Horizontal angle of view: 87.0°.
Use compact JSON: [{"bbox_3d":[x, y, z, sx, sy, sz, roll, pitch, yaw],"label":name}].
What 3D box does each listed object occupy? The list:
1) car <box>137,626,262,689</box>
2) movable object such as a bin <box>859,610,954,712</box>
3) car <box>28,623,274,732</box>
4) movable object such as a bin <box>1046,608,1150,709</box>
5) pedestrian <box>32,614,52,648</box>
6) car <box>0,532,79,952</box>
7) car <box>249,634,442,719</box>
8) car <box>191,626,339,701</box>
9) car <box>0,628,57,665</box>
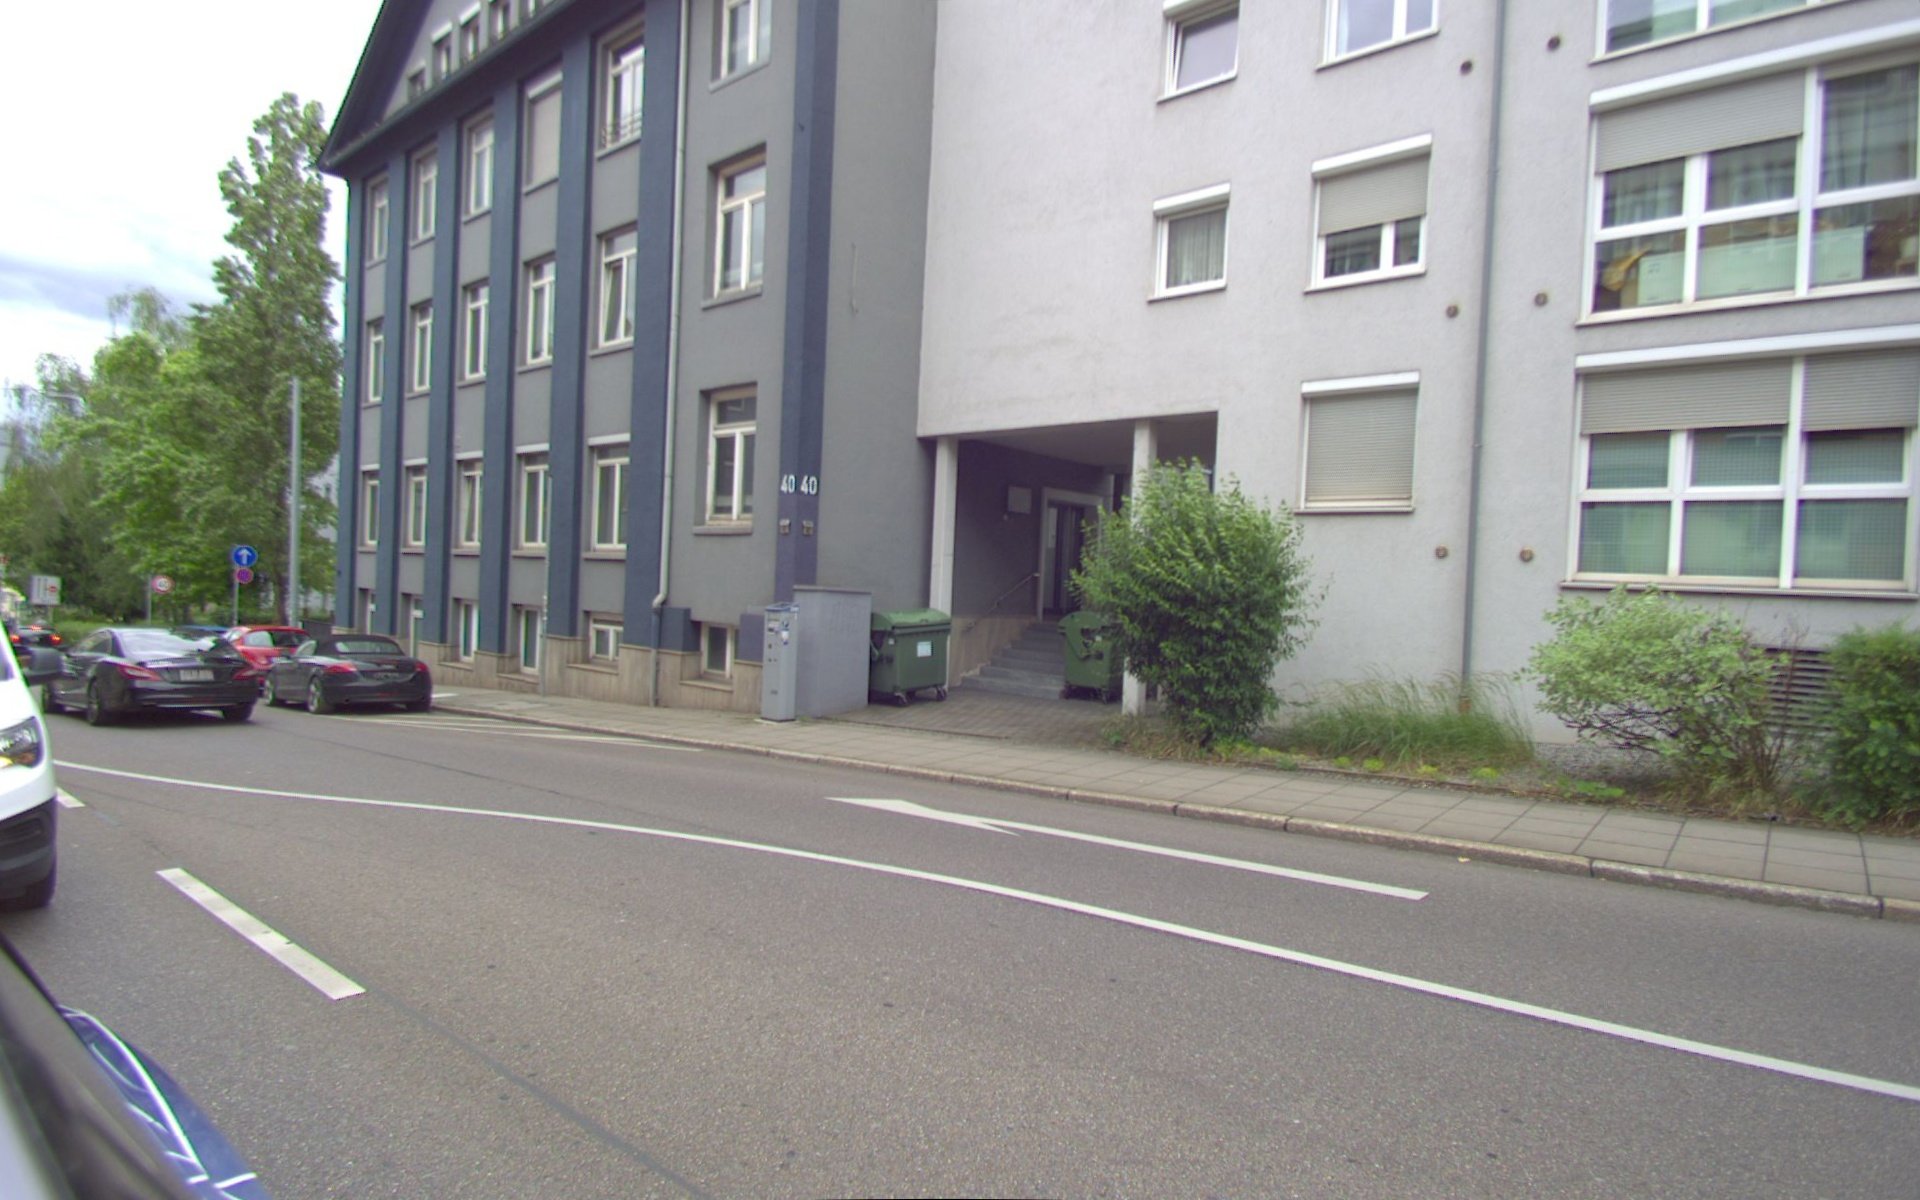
[{"bbox_3d":[-19.400,1.424,25.771,3.724,1.465,1.702,-1,-3,40],"label":"car"},{"bbox_3d":[-0.815,0.908,15.665,0.784,1.467,1.251,0,1,44],"label":"movable object such as a bin"},{"bbox_3d":[-12.408,1.097,15.417,4.662,1.429,1.769,-1,-4,37],"label":"car"},{"bbox_3d":[2.266,0.928,16.611,1.190,1.489,1.132,5,2,41],"label":"movable object such as a bin"},{"bbox_3d":[-50.599,1.701,55.793,0.776,1.864,0.736,-2,-1,42],"label":"pedestrian"},{"bbox_3d":[-6.446,0.665,5.546,4.937,1.821,1.816,-1,0,42],"label":"car"},{"bbox_3d":[-11.040,1.314,18.094,4.038,1.337,1.702,-1,-4,40],"label":"car"},{"bbox_3d":[-15.265,1.359,22.157,3.868,1.485,1.795,-2,-4,43],"label":"car"},{"bbox_3d":[-38.270,1.876,41.277,3.793,1.411,1.655,-1,-4,41],"label":"car"}]
